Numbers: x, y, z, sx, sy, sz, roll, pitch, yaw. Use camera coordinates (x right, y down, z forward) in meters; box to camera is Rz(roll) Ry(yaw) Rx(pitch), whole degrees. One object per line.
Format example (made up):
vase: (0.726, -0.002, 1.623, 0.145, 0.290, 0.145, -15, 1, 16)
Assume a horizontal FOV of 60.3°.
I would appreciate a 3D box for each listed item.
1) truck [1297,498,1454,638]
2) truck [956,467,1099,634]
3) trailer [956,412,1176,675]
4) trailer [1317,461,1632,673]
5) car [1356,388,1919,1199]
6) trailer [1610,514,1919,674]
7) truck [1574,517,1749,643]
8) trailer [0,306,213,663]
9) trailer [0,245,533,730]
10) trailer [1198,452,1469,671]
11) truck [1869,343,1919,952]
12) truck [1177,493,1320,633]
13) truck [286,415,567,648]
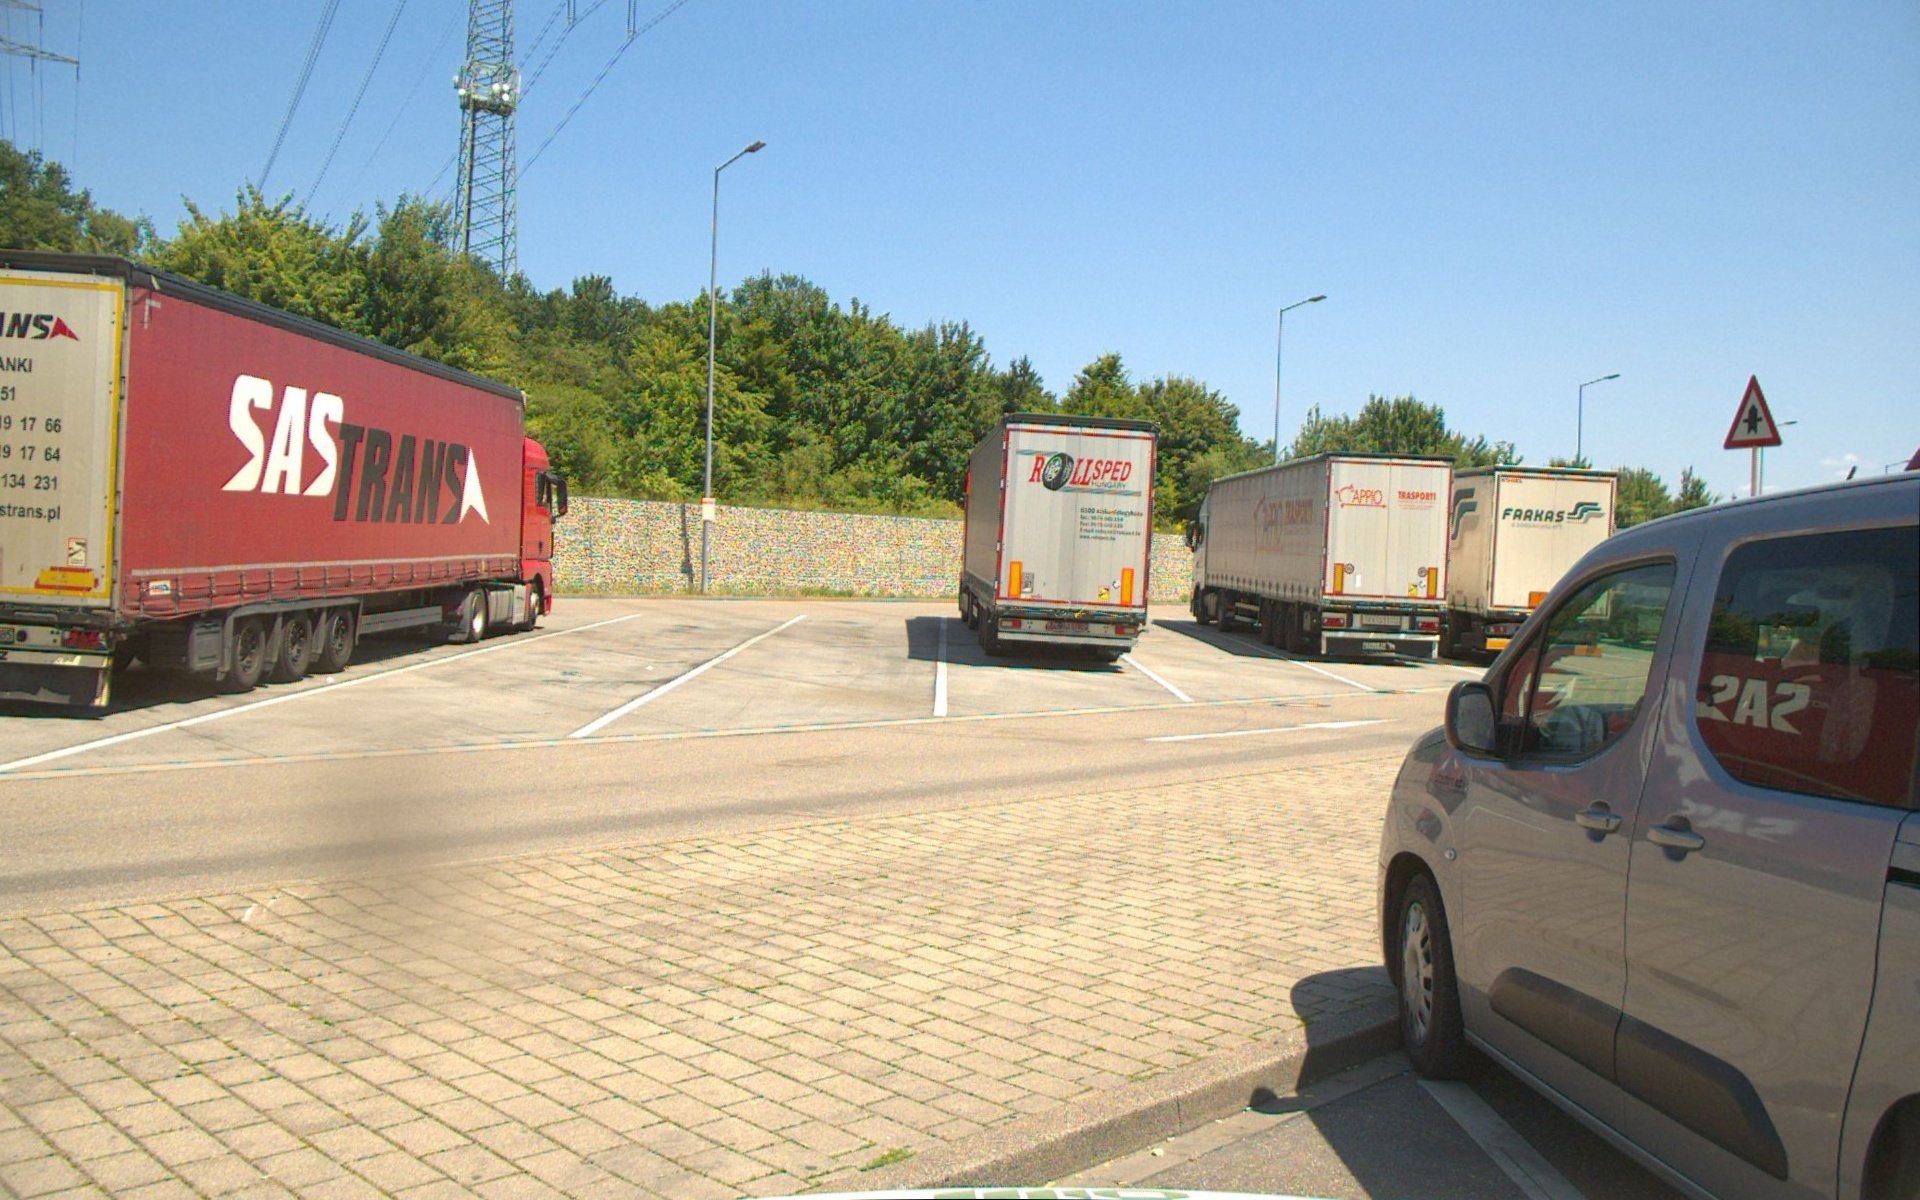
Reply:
truck: (11.660, -0.961, 46.957, 2.746, 3.582, 5.900, 3, 2, -1)
truck: (1.516, -1.239, 40.525, 3.041, 3.628, 5.900, 3, 2, -1)
trailer: (1.672, -1.193, 33.635, 3.070, 4.058, 14.393, 3, 2, -1)
trailer: (11.748, -0.934, 39.948, 2.754, 4.058, 14.395, 3, 2, -1)
car: (2.451, 0.604, 3.849, 1.832, 1.896, 4.174, 3, 1, -2)
trailer: (21.858, -0.390, 44.498, 2.754, 3.568, 14.395, 3, 2, -1)
truck: (21.781, -0.695, 51.727, 2.746, 3.582, 5.900, 3, 2, -1)
trailer: (-12.540, -1.336, 17.707, 2.739, 4.155, 14.131, 3, 2, -1)
trailer: (-8.713, -1.290, 21.429, 2.735, 4.155, 14.131, 3, 2, -1)
trailer: (8.185, -1.029, 38.843, 2.754, 4.058, 14.395, 3, 2, -1)
truck: (5.013, 0.201, 4.972, 1.937, 2.668, 5.307, 1, 0, 4)
truck: (8.068, -1.092, 46.943, 2.804, 3.582, 5.900, 3, 2, -1)
truck: (-8.777, -1.150, 28.000, 2.793, 3.385, 5.900, 3, 2, -1)
